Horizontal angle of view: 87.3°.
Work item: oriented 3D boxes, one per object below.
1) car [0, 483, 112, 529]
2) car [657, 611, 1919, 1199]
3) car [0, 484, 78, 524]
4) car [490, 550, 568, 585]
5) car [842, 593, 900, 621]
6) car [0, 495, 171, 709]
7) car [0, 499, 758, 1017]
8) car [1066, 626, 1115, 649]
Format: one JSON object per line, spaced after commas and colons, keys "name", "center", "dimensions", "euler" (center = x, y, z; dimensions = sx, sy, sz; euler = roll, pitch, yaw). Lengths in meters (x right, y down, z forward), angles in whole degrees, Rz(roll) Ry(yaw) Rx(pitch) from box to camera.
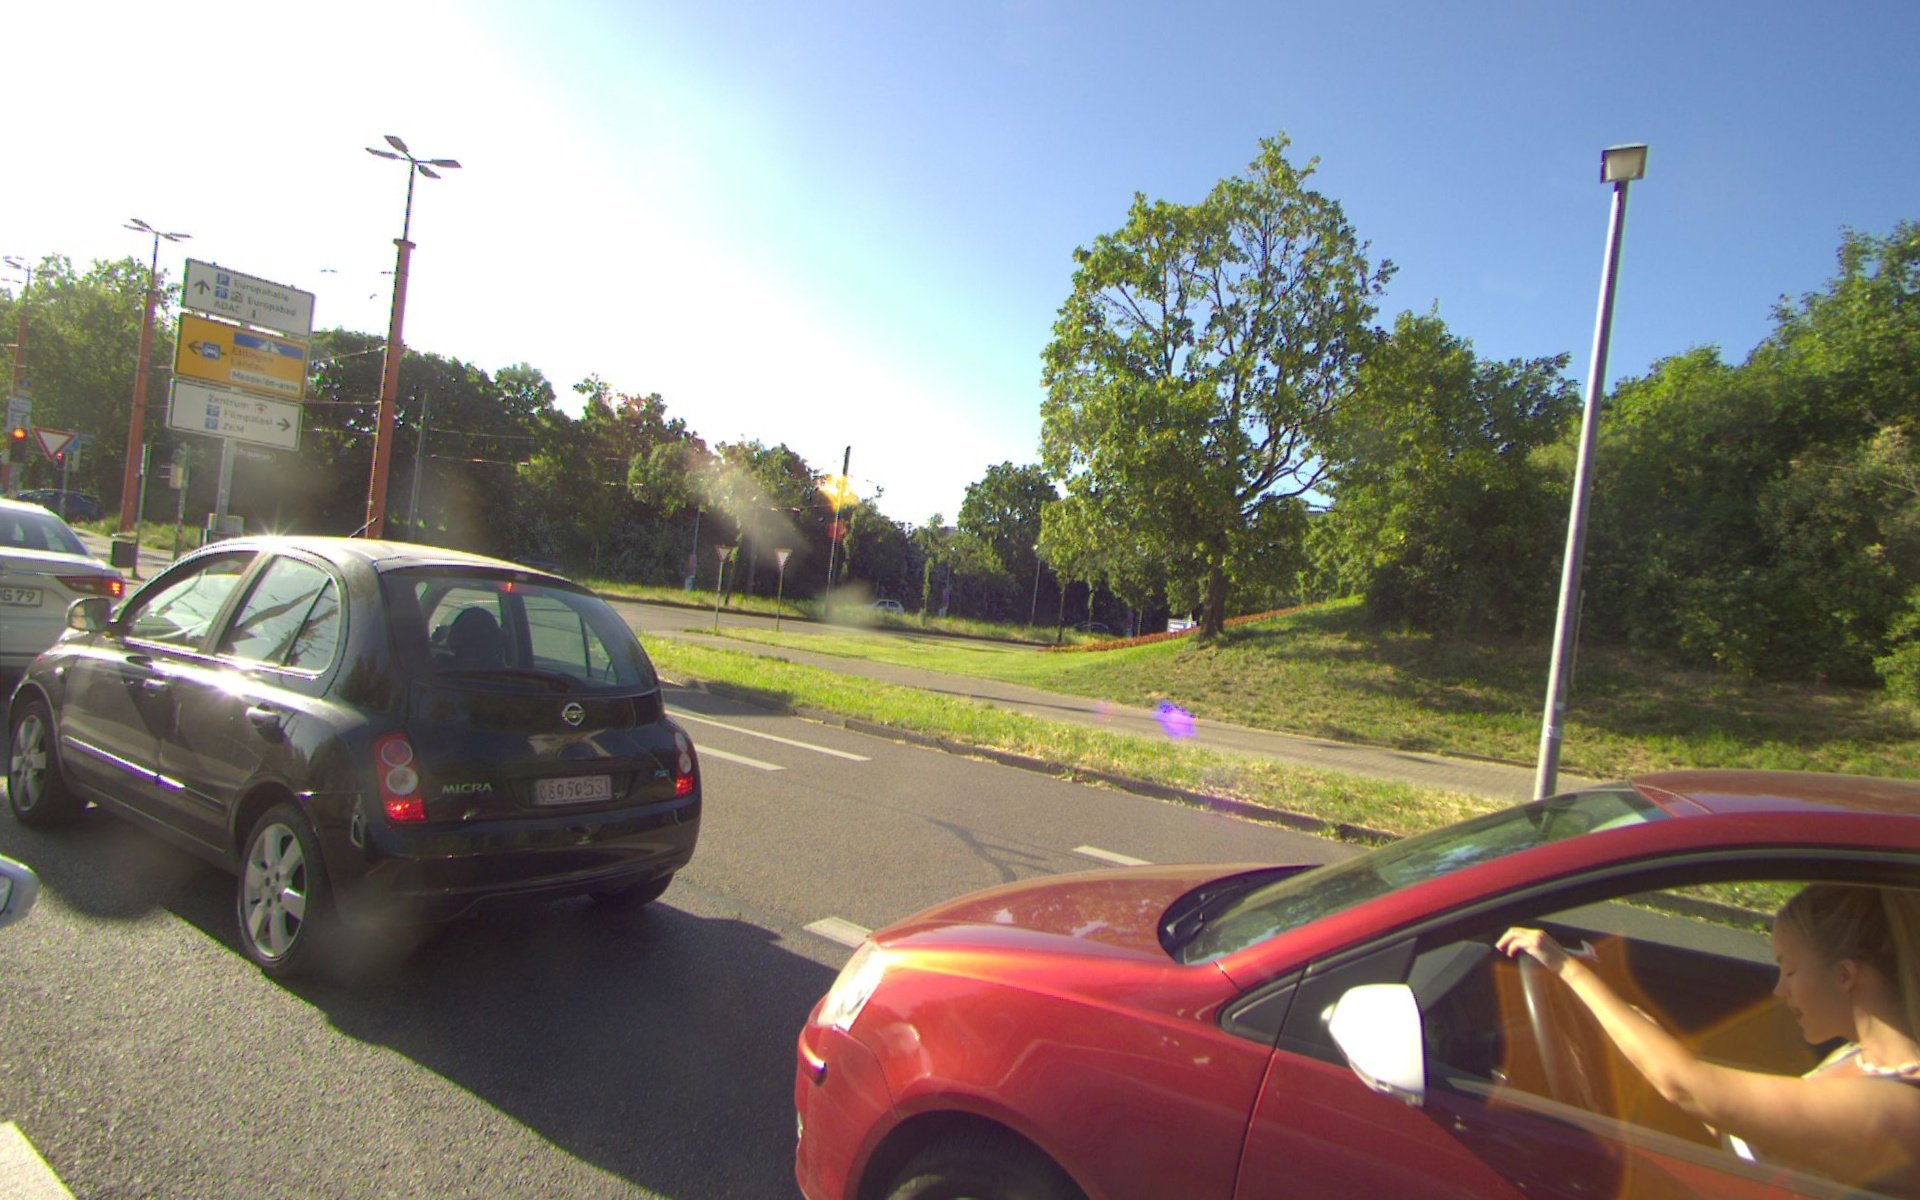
{"name": "car", "center": [-42.910, -4.422, 47.727], "dimensions": [3.770, 1.528, 1.641], "euler": [8, -1, -35]}
{"name": "car", "center": [1.342, 1.001, 1.871], "dimensions": [3.629, 1.477, 1.579], "euler": [6, -2, 32]}
{"name": "car", "center": [-46.306, -4.814, 49.581], "dimensions": [3.888, 1.474, 1.643], "euler": [8, -1, -32]}
{"name": "car", "center": [-26.263, -1.968, 61.311], "dimensions": [4.105, 1.528, 1.644], "euler": [8, -1, -31]}
{"name": "car", "center": [-6.467, 0.523, 73.505], "dimensions": [3.764, 1.528, 1.644], "euler": [8, -1, -31]}
{"name": "car", "center": [-8.373, -0.177, 8.082], "dimensions": [4.256, 1.457, 1.802], "euler": [6, -2, 33]}
{"name": "car", "center": [-2.801, 0.465, 4.627], "dimensions": [3.385, 1.457, 1.579], "euler": [6, -2, 32]}
{"name": "car", "center": [10.675, 3.088, 82.243], "dimensions": [3.774, 1.419, 1.639], "euler": [9, -1, -38]}
